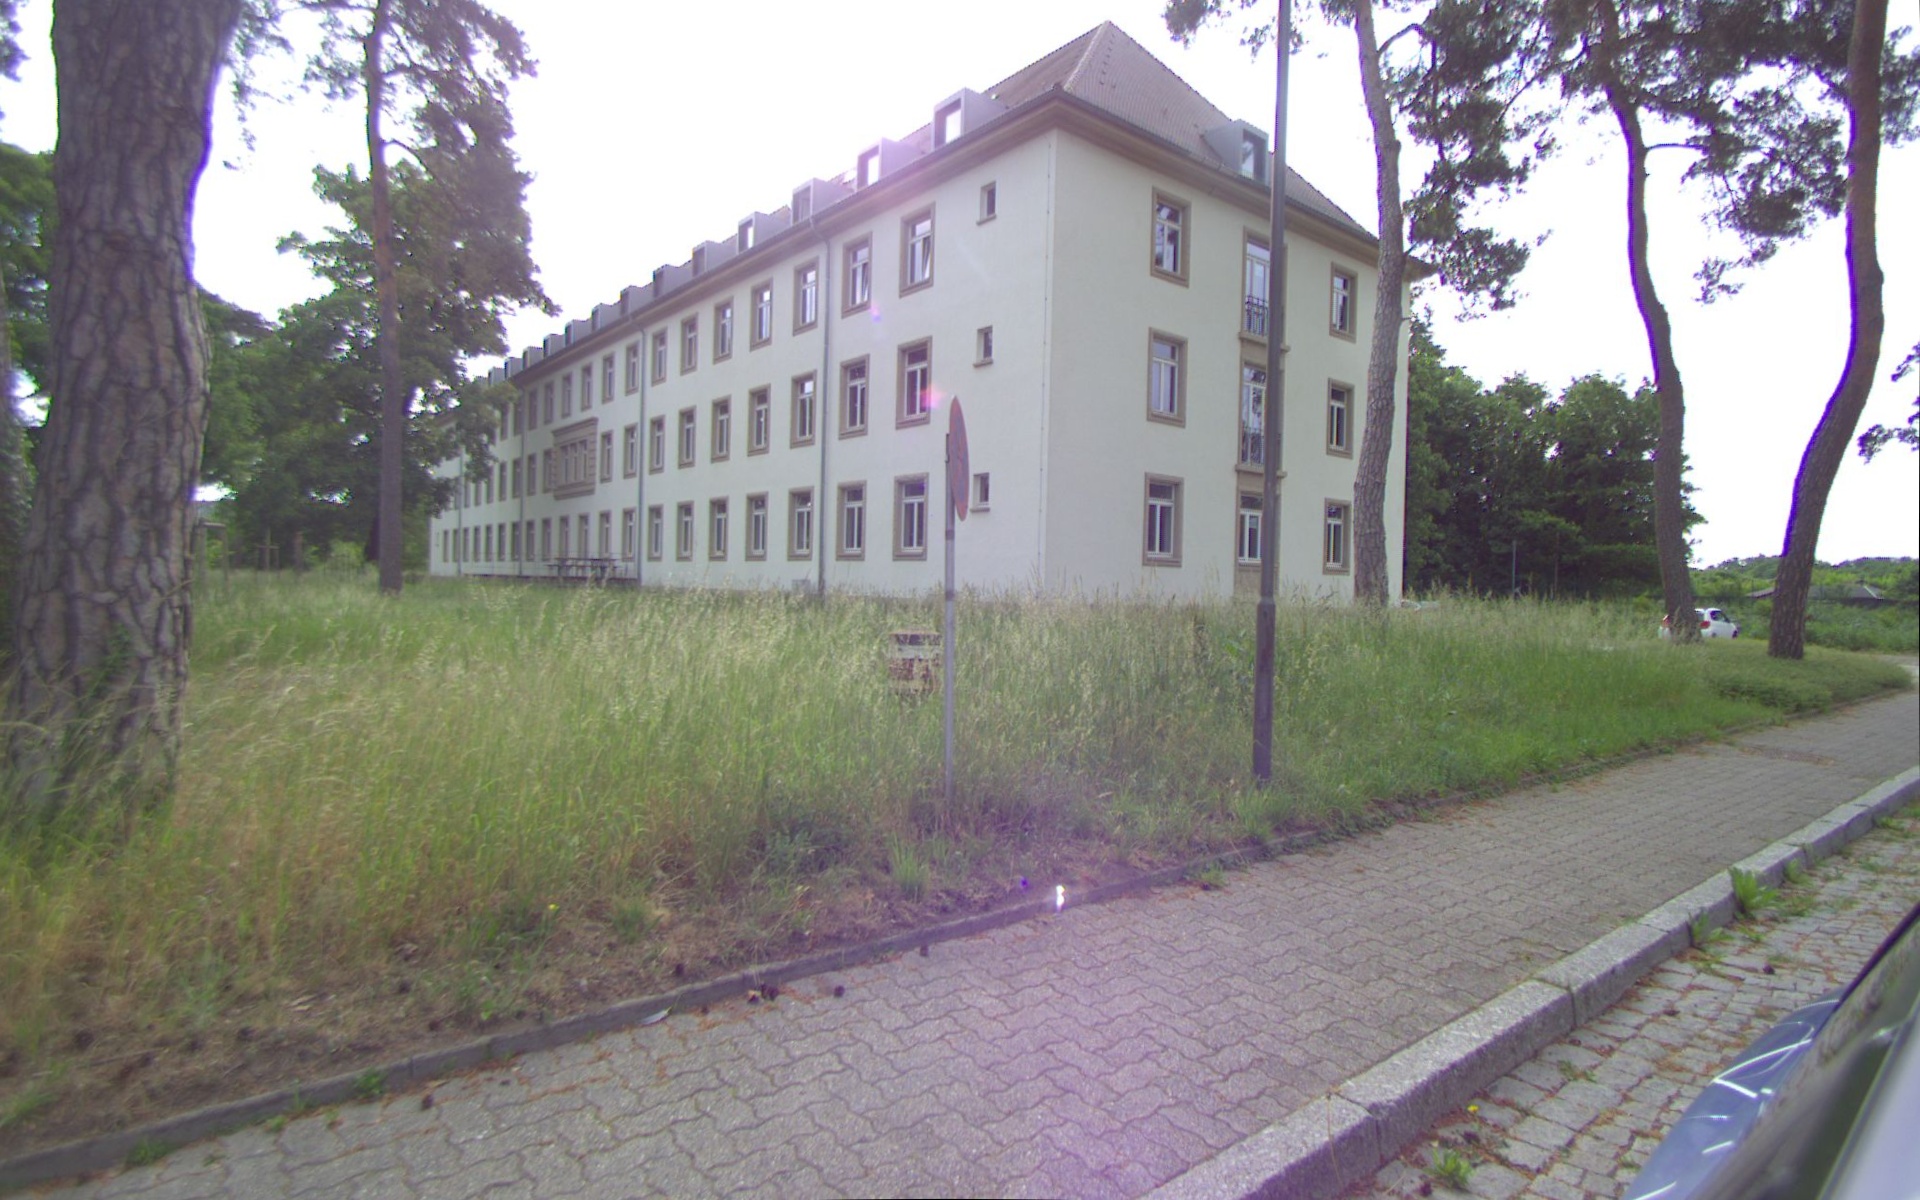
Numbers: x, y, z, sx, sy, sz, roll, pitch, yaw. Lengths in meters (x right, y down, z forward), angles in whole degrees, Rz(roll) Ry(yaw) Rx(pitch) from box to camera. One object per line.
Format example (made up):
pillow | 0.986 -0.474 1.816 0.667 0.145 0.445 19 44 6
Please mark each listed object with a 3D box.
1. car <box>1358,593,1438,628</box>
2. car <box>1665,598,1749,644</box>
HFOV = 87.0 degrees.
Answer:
car | 19.349 0.428 44.680 3.929 1.345 1.641 -2 2 -39
car | 26.578 0.713 35.995 3.220 1.451 1.641 -2 3 -39
